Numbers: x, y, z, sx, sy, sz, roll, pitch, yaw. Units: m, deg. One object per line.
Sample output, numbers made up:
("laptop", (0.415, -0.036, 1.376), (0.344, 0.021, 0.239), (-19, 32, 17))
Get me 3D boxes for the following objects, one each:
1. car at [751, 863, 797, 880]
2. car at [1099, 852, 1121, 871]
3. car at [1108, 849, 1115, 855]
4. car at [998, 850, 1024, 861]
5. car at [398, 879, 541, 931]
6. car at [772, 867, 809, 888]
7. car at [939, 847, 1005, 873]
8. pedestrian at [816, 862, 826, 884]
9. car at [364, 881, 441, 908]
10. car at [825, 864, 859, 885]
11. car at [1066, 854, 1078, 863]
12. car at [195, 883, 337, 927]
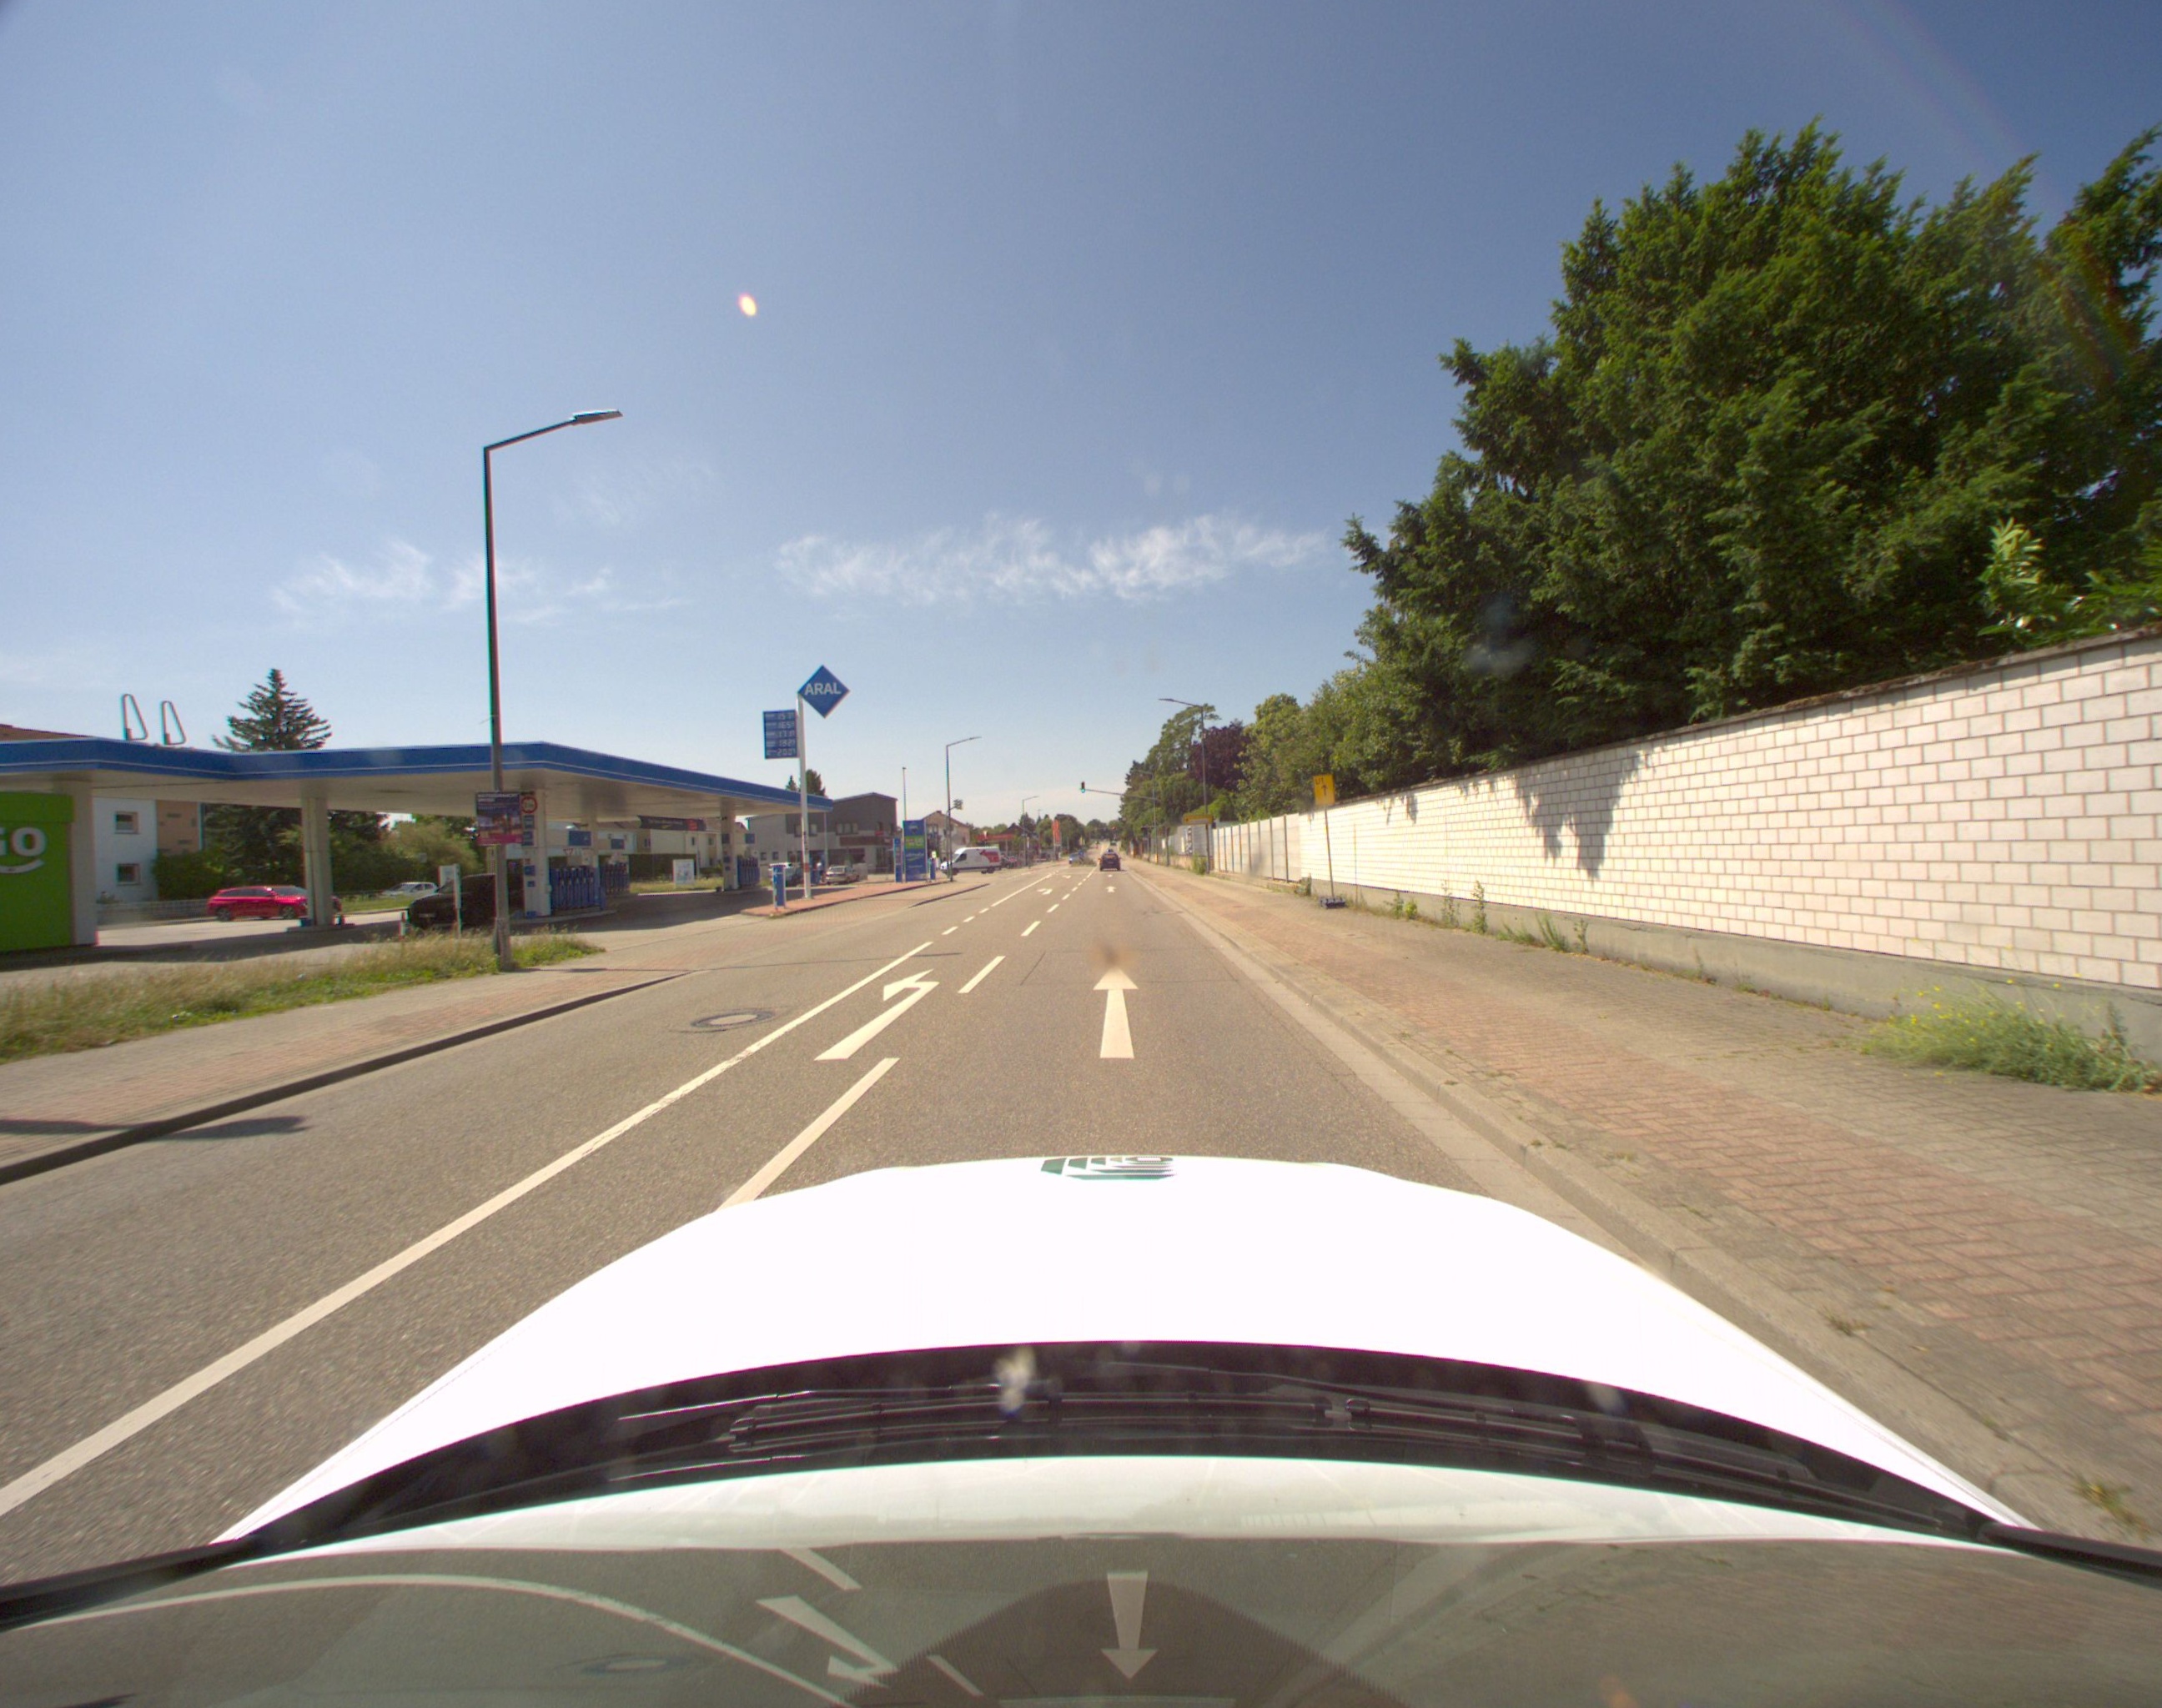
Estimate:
("car", (-31.461, 1.745, 83.508), (3.977, 1.508, 1.553), (-3, 0, -2))
("car", (2.338, 0.615, 66.613), (1.659, 1.455, 3.473), (-3, 0, 1))
("car", (7.455, -0.471, 200.686), (1.659, 1.455, 3.473), (-3, 0, 1))
("car", (-11.080, 0.262, 129.081), (3.977, 1.508, 1.553), (-3, 0, -2))
("car", (-20.390, 1.654, 27.395), (1.664, 1.381, 4.001), (-3, 0, 2))
("car", (-22.376, 1.783, 62.843), (1.613, 1.420, 3.708), (-4, 0, -3))
("car", (-10.457, 0.534, 78.119), (5.967, 2.423, 1.980), (0, -2, -31))
("pedestrian", (-20.616, 1.487, 64.497), (0.613, 1.691, 0.703), (-3, 0, -25))
("car", (-45.810, 2.717, 55.089), (1.662, 1.480, 4.004), (-3, 0, 4))
("car", (-18.589, 1.593, 63.395), (1.613, 1.420, 3.708), (-4, 0, -3))
("car", (-1.402, 0.678, 123.363), (1.581, 1.393, 3.473), (-3, 0, 2))
("car", (-34.306, 2.122, 34.377), (3.983, 1.536, 1.671), (-3, 0, -7))
